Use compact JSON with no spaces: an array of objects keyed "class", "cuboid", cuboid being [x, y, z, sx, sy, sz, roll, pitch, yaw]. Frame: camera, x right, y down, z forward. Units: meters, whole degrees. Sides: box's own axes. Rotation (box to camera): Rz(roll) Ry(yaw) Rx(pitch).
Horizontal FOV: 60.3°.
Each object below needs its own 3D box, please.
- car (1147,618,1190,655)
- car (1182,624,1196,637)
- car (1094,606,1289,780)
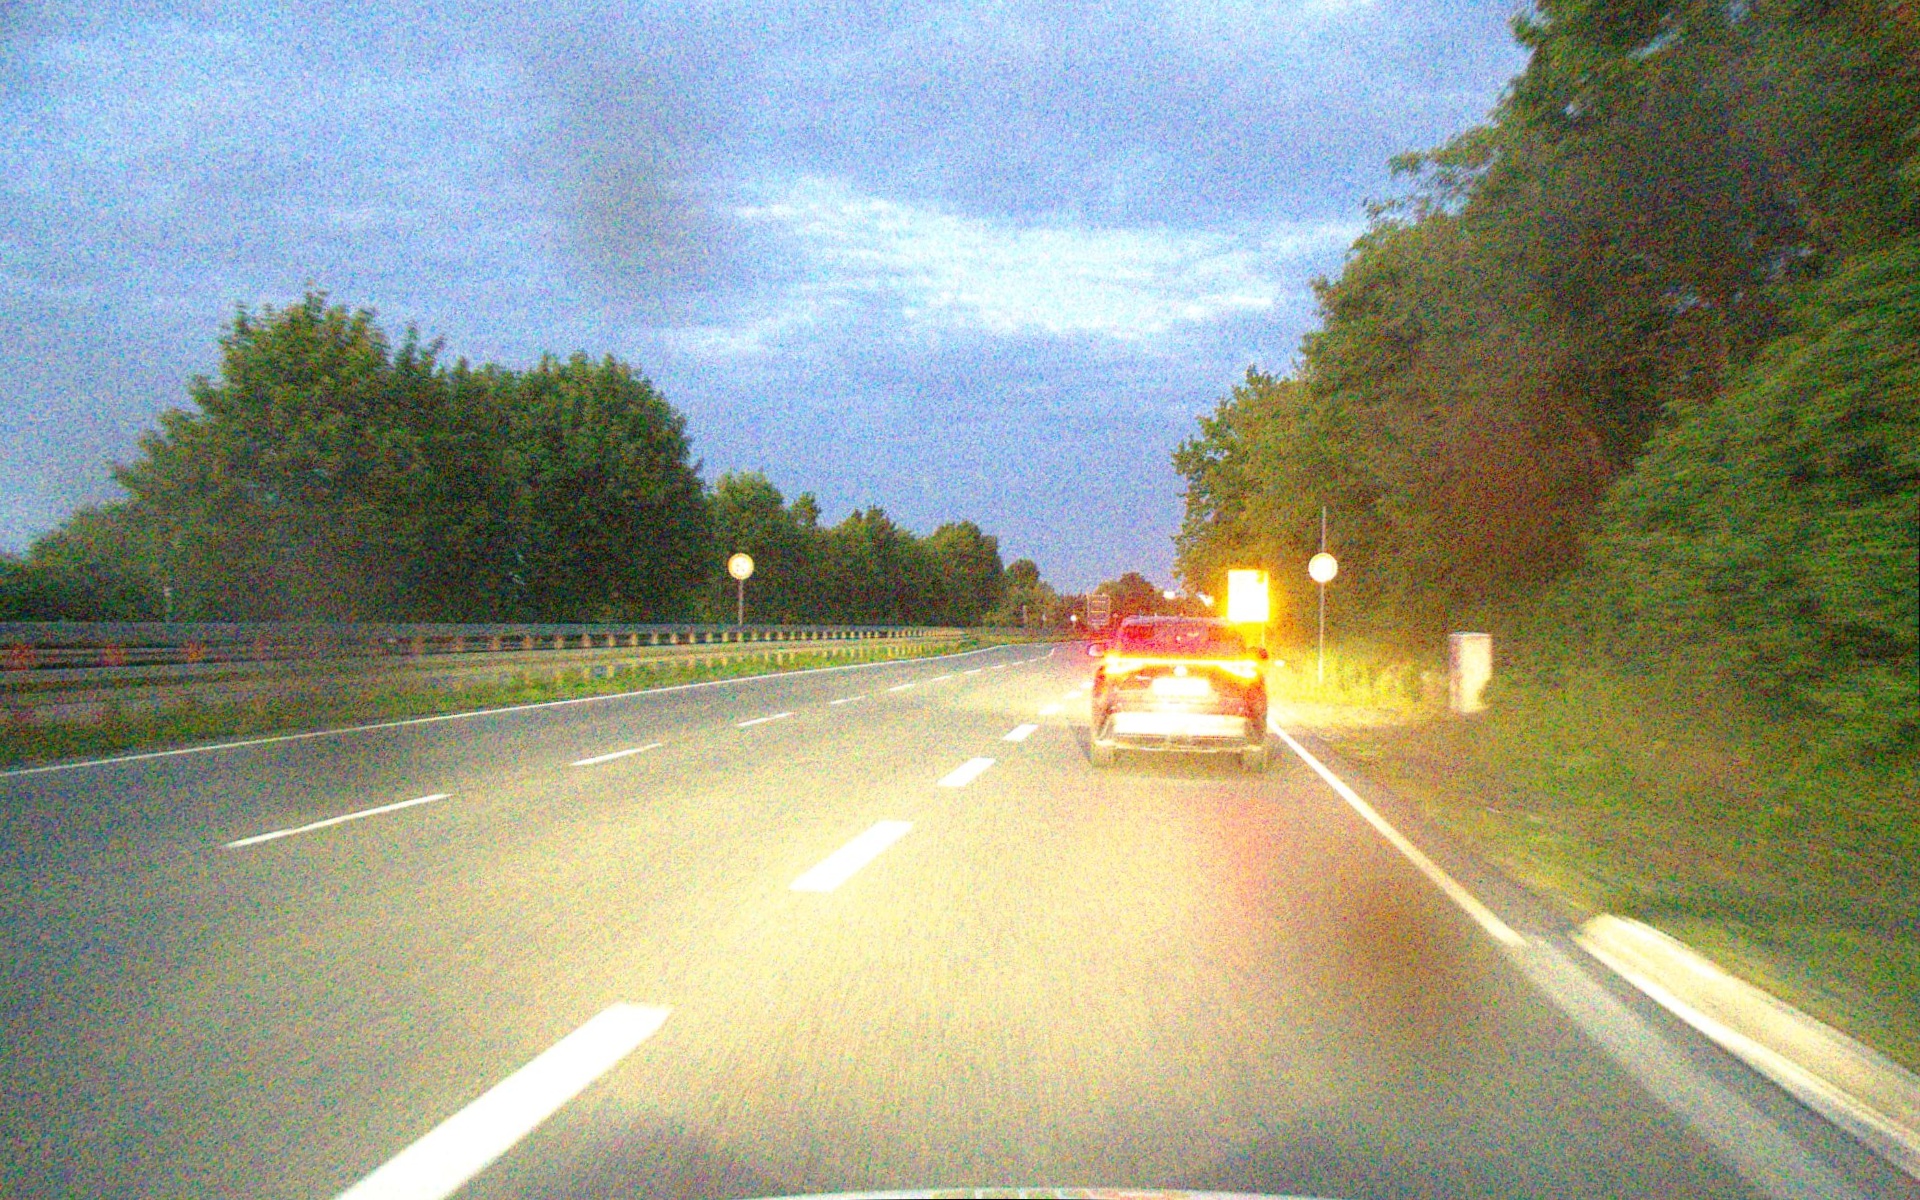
[{"class":"car","cuboid":[8.801,1.531,69.641,1.715,1.478,4.436,0,-1,8]},{"class":"car","cuboid":[34.296,4.559,247.904,1.951,1.780,4.003,-3,-2,9]},{"class":"car","cuboid":[2.488,0.940,18.581,1.861,1.648,4.559,2,-1,5]}]
